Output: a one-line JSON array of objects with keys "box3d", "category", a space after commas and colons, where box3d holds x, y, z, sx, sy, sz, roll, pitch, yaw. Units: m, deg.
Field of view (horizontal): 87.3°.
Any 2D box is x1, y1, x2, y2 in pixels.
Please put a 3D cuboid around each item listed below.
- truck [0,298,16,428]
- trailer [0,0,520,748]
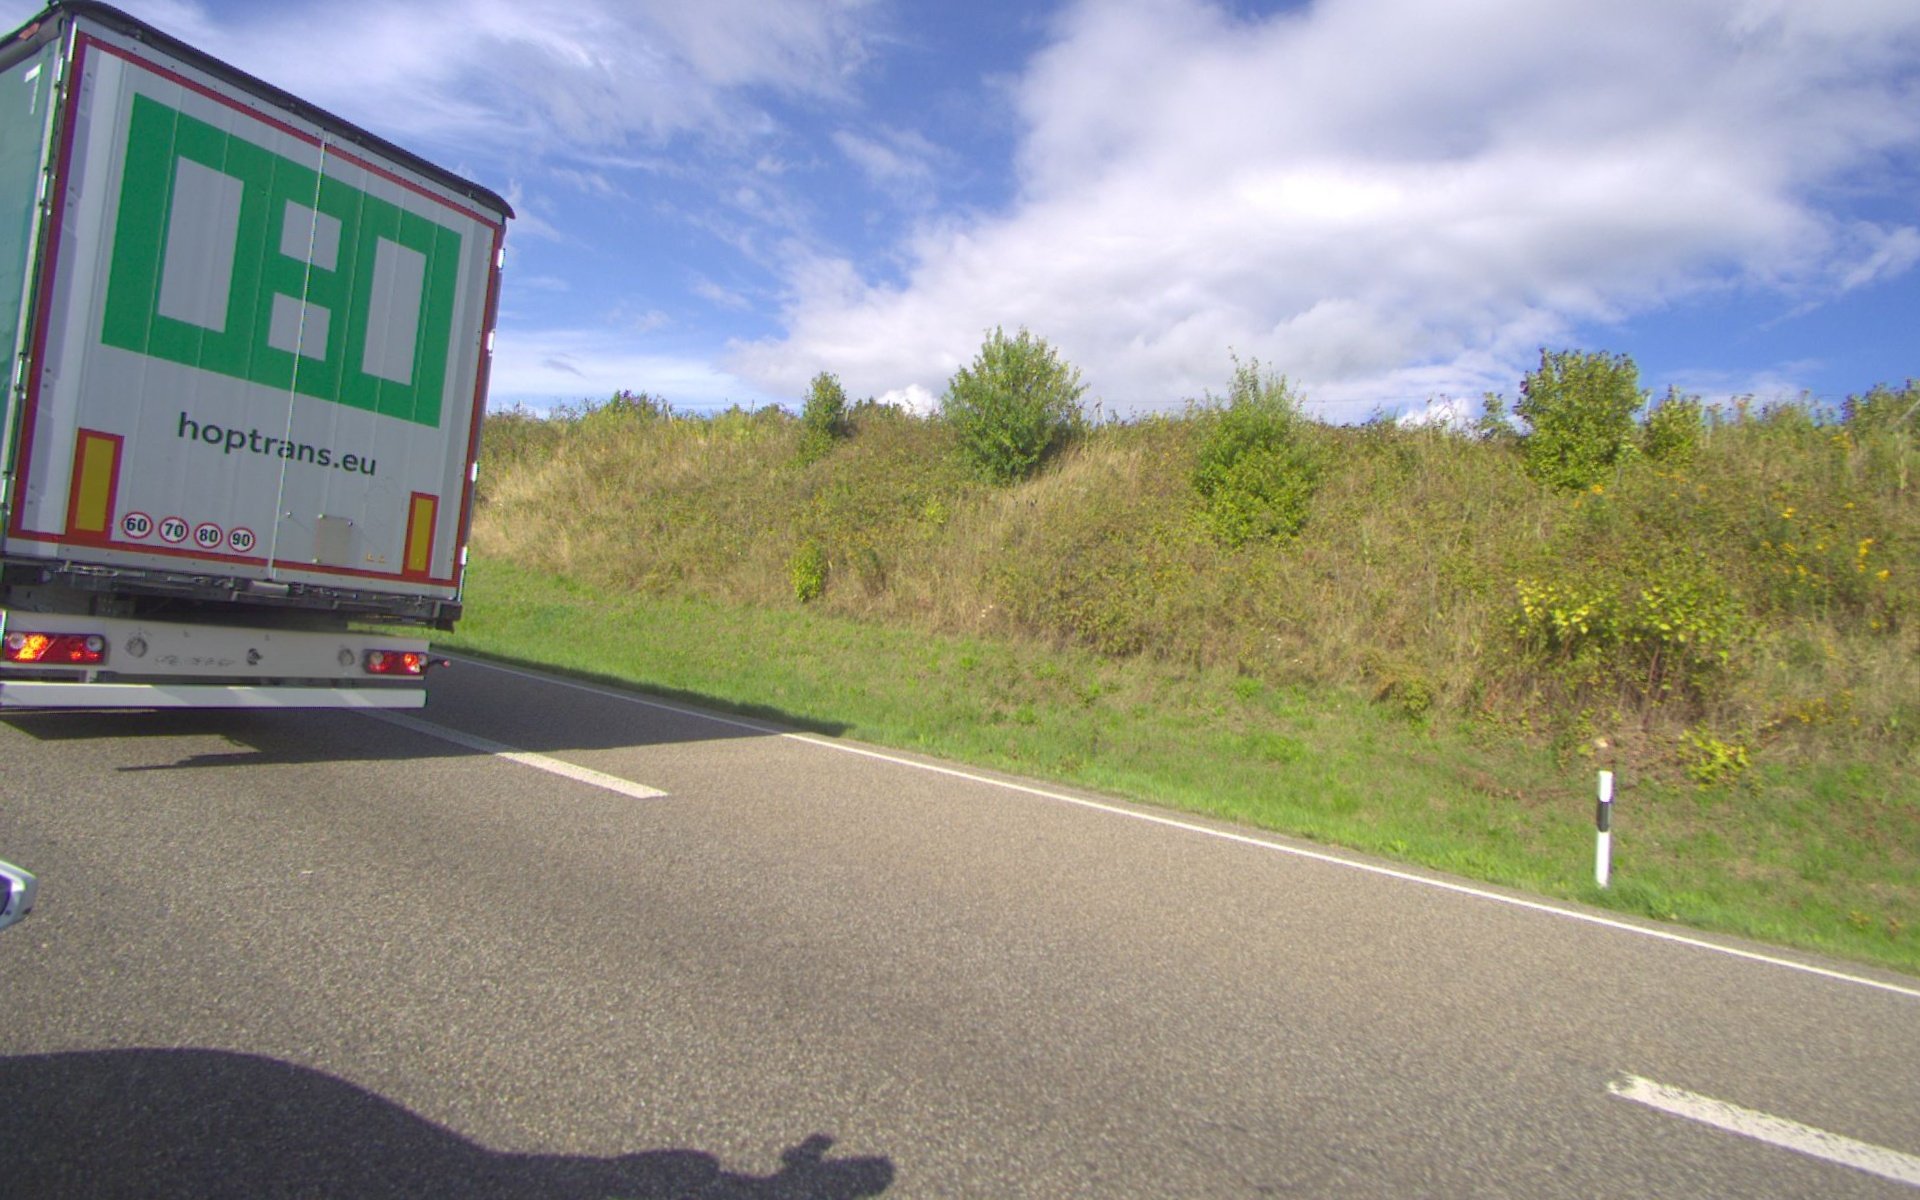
[{"box3d": [-15.655, -2.242, 13.295, 6.880, 3.914, 2.651, 6, -1, 32], "category": "truck"}, {"box3d": [-9.613, -1.707, 9.519, 13.173, 3.914, 2.666, 6, -1, 32], "category": "trailer"}]
